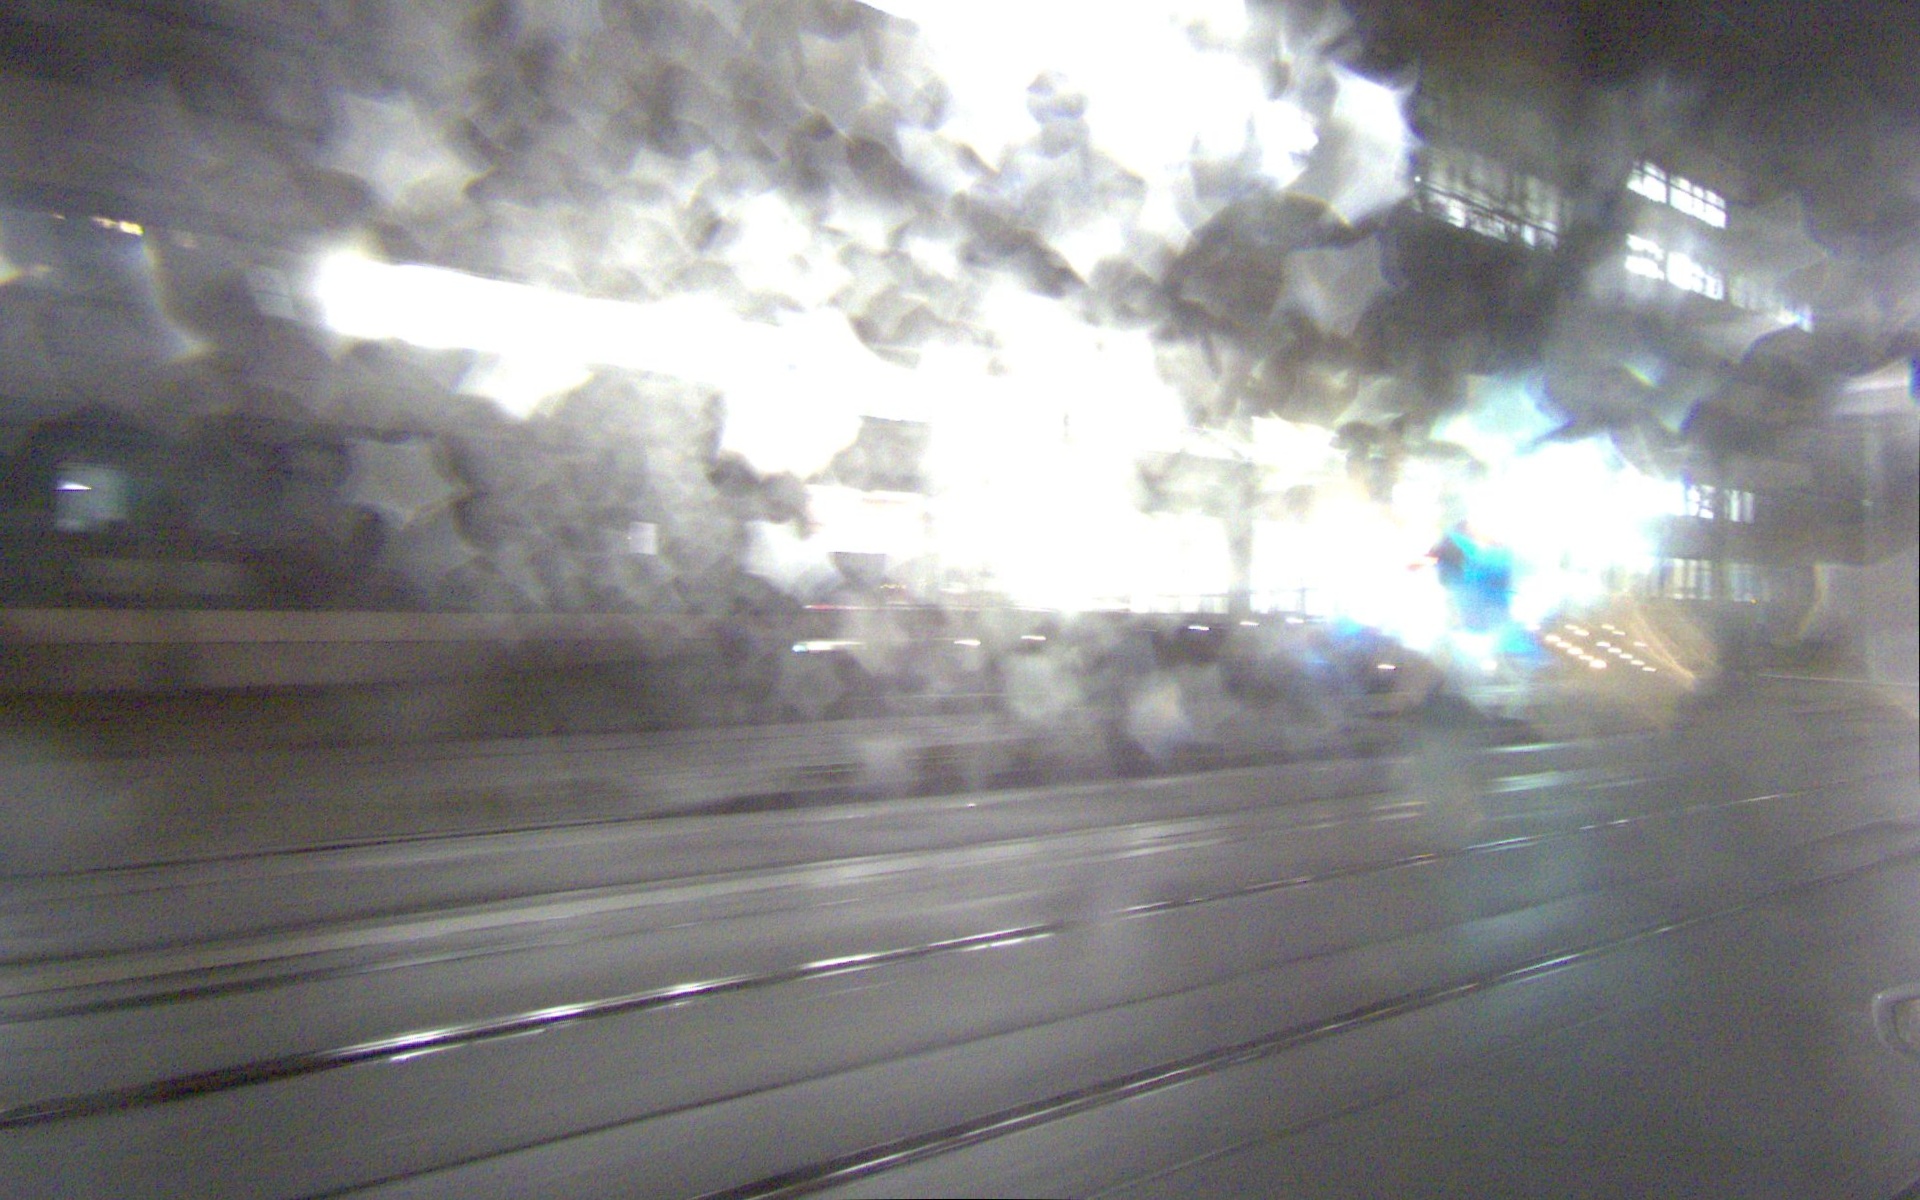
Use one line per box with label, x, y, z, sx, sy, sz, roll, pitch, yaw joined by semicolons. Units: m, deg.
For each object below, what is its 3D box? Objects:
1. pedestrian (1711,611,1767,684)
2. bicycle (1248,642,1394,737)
pedestrian;18.845;1.142;24.312;0.872;1.709;0.782;2;0;-30
bicycle;4.733;1.144;13.311;0.620;1.092;1.845;2;0;-29
